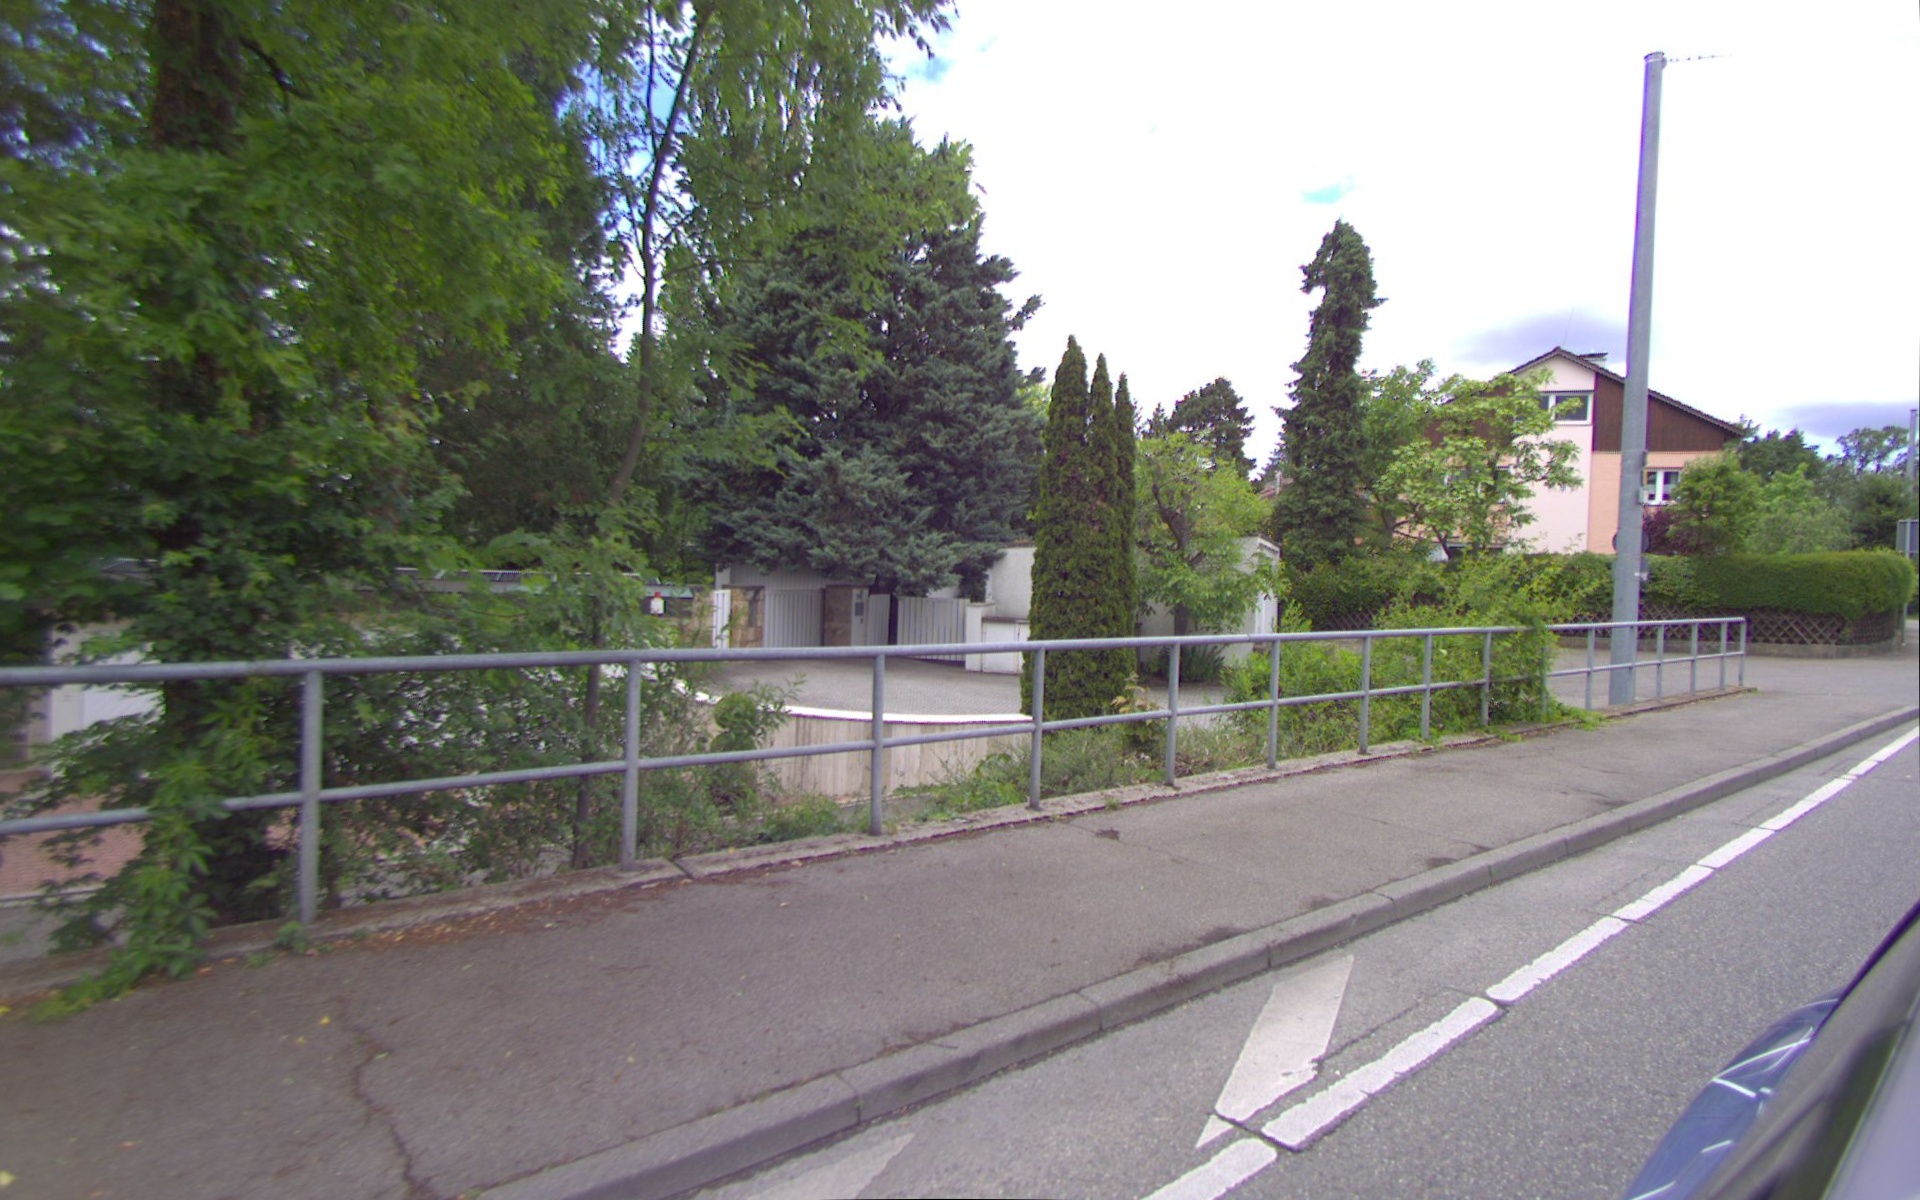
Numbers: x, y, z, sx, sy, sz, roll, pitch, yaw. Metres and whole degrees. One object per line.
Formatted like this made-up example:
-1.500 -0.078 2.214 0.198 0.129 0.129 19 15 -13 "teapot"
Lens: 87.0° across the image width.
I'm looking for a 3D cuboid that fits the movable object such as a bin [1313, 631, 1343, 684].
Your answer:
7.398 1.147 20.339 0.534 0.986 0.505 -1 4 24 "movable object such as a bin"
